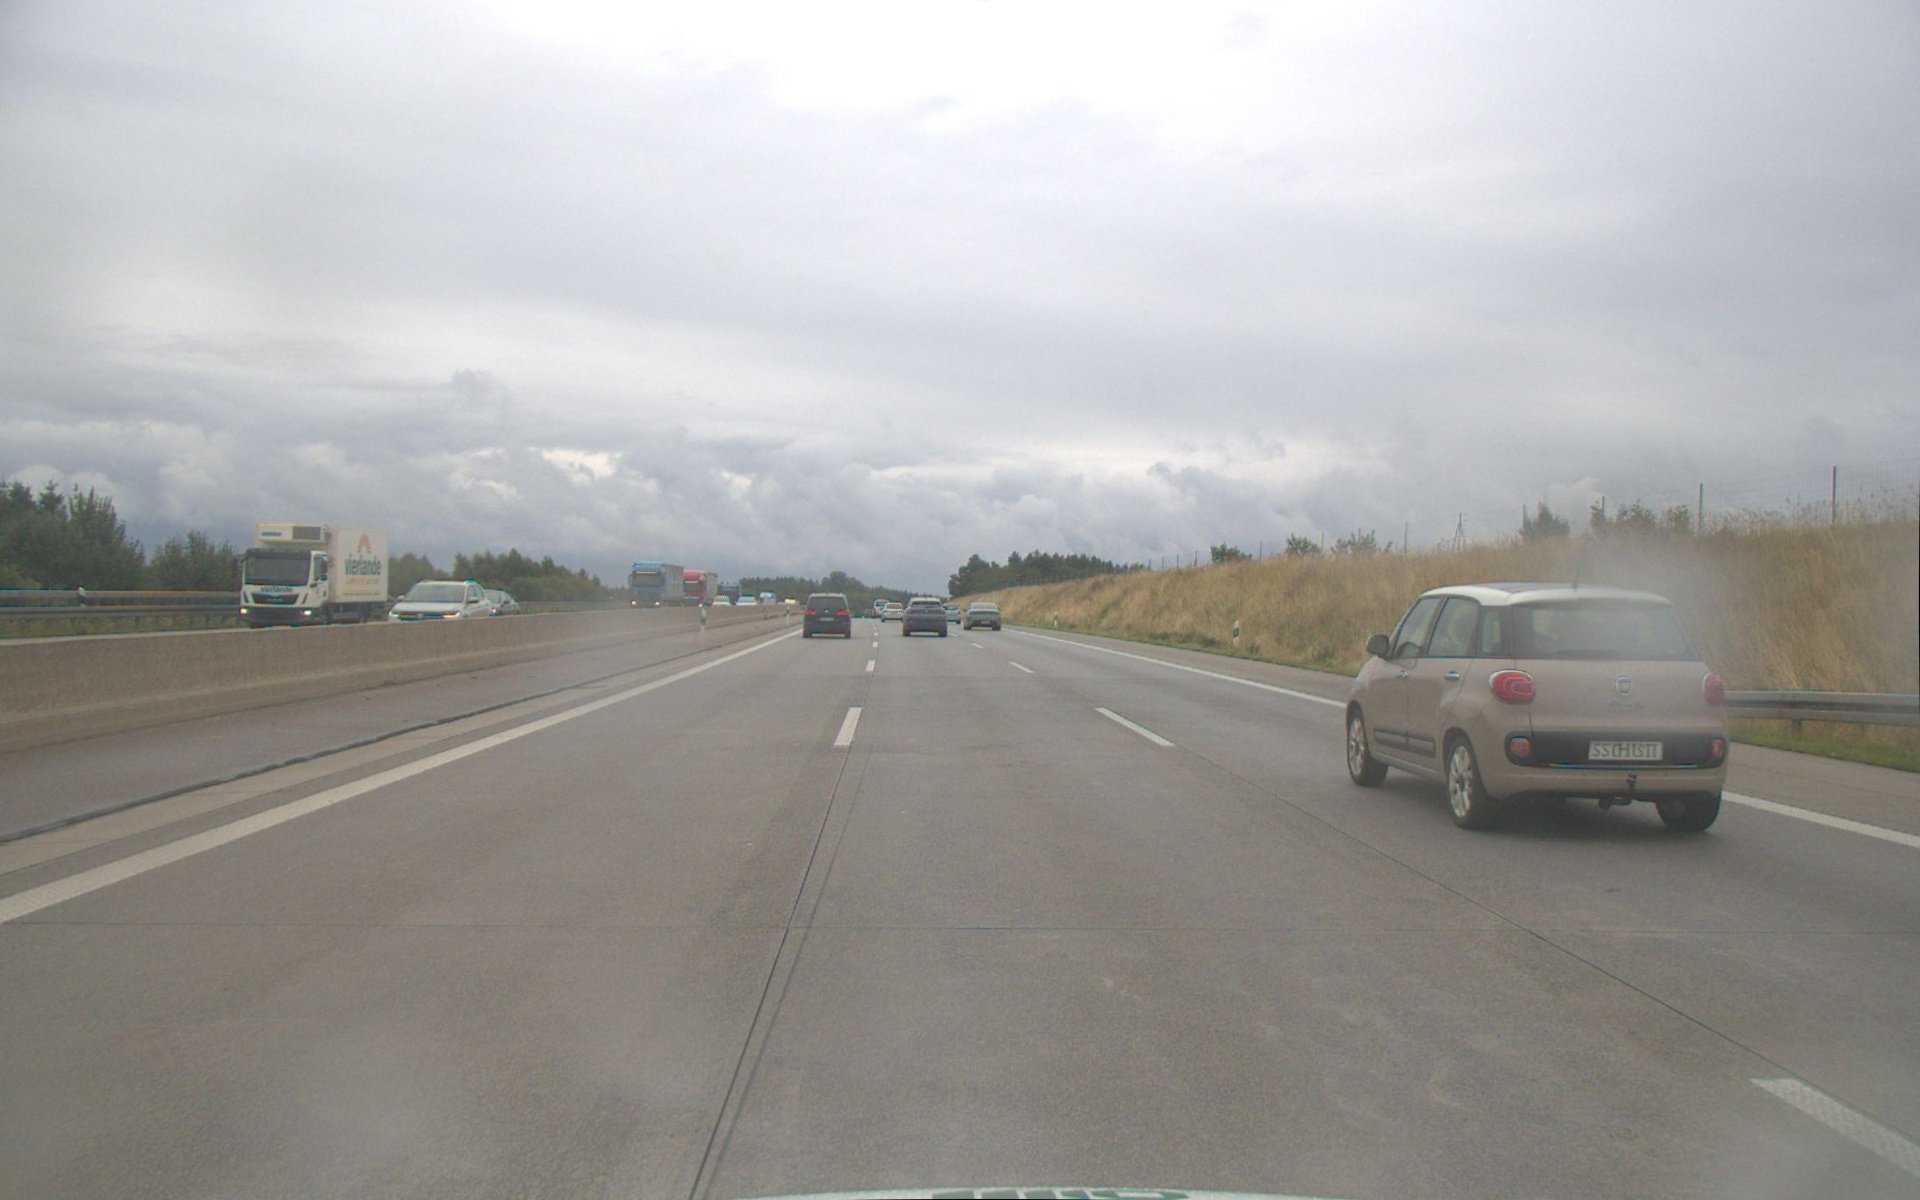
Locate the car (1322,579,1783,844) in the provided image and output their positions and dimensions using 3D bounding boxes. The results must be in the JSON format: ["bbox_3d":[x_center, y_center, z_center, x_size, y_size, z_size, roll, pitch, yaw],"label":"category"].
[{"bbox_3d":[4.208,0.697,12.620,1.749,1.633,4.569,1,0,-2],"label":"car"}]

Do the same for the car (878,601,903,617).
[{"bbox_3d":[-5.272,0.700,126.064,1.761,1.143,4.000,1,0,0],"label":"car"}]

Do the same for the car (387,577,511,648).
[{"bbox_3d":[-12.330,0.283,40.207,1.707,1.594,4.498,1,0,-2],"label":"car"}]

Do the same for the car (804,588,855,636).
[{"bbox_3d":[-5.017,0.461,64.157,1.749,1.777,3.913,1,0,-2],"label":"car"}]

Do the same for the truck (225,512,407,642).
[{"bbox_3d":[-21.195,-0.704,55.062,2.841,3.931,8.896,1,0,-2],"label":"truck"}]

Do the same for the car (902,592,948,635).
[{"bbox_3d":[-1.538,0.555,70.590,1.860,1.719,5.264,1,0,-2],"label":"car"}]

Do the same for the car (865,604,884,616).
[{"bbox_3d":[-9.077,1.058,175.921,1.761,1.243,4.000,1,0,0],"label":"car"}]

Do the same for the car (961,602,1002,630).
[{"bbox_3d":[1.126,0.842,89.634,1.974,1.471,4.743,1,0,-2],"label":"car"}]

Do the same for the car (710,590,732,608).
[{"bbox_3d":[-22.352,-0.101,154.854,1.582,1.680,4.292,1,0,-3],"label":"car"}]

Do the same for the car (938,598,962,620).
[{"bbox_3d":[-0.741,0.655,121.375,1.456,1.496,3.501,4,0,-4],"label":"car"}]

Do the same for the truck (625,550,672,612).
[{"bbox_3d":[-24.533,-1.446,130.398,2.869,4.758,5.229,1,0,-3],"label":"truck"}]

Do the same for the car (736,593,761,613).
[{"bbox_3d":[-17.606,0.237,137.900,1.664,1.643,4.718,1,0,-2],"label":"car"}]

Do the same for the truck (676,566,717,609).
[{"bbox_3d":[-26.996,-1.264,169.467,3.401,4.255,6.489,1,0,-3],"label":"truck"}]
